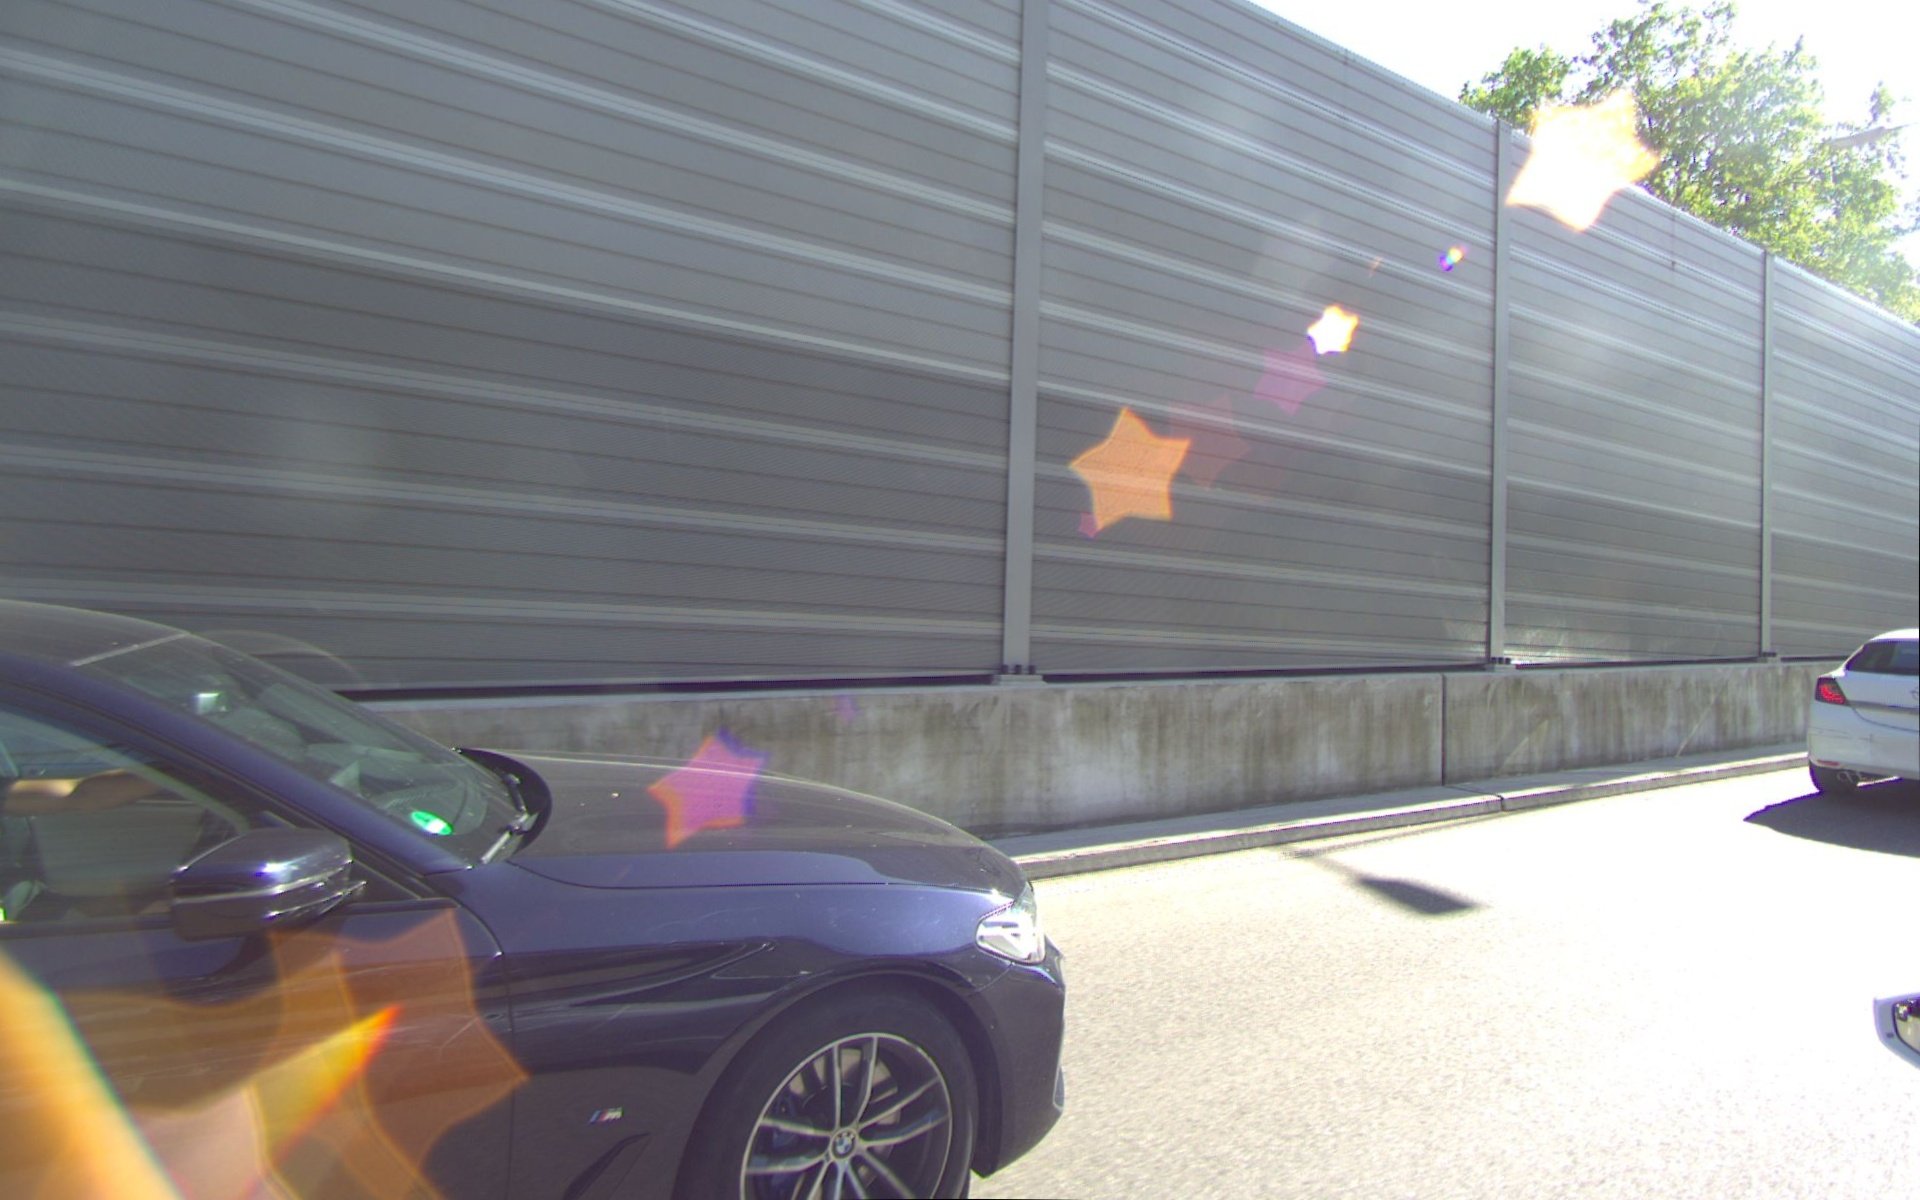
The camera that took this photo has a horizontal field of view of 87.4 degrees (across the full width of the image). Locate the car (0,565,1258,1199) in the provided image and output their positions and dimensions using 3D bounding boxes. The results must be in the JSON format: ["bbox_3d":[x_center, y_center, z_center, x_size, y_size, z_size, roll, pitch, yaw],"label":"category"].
[{"bbox_3d":[-1.810,0.675,2.109,4.944,1.458,1.800,1,0,-31],"label":"car"}]

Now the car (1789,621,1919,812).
[{"bbox_3d":[8.870,0.928,8.526,3.806,1.422,1.611,1,0,-30],"label":"car"}]
